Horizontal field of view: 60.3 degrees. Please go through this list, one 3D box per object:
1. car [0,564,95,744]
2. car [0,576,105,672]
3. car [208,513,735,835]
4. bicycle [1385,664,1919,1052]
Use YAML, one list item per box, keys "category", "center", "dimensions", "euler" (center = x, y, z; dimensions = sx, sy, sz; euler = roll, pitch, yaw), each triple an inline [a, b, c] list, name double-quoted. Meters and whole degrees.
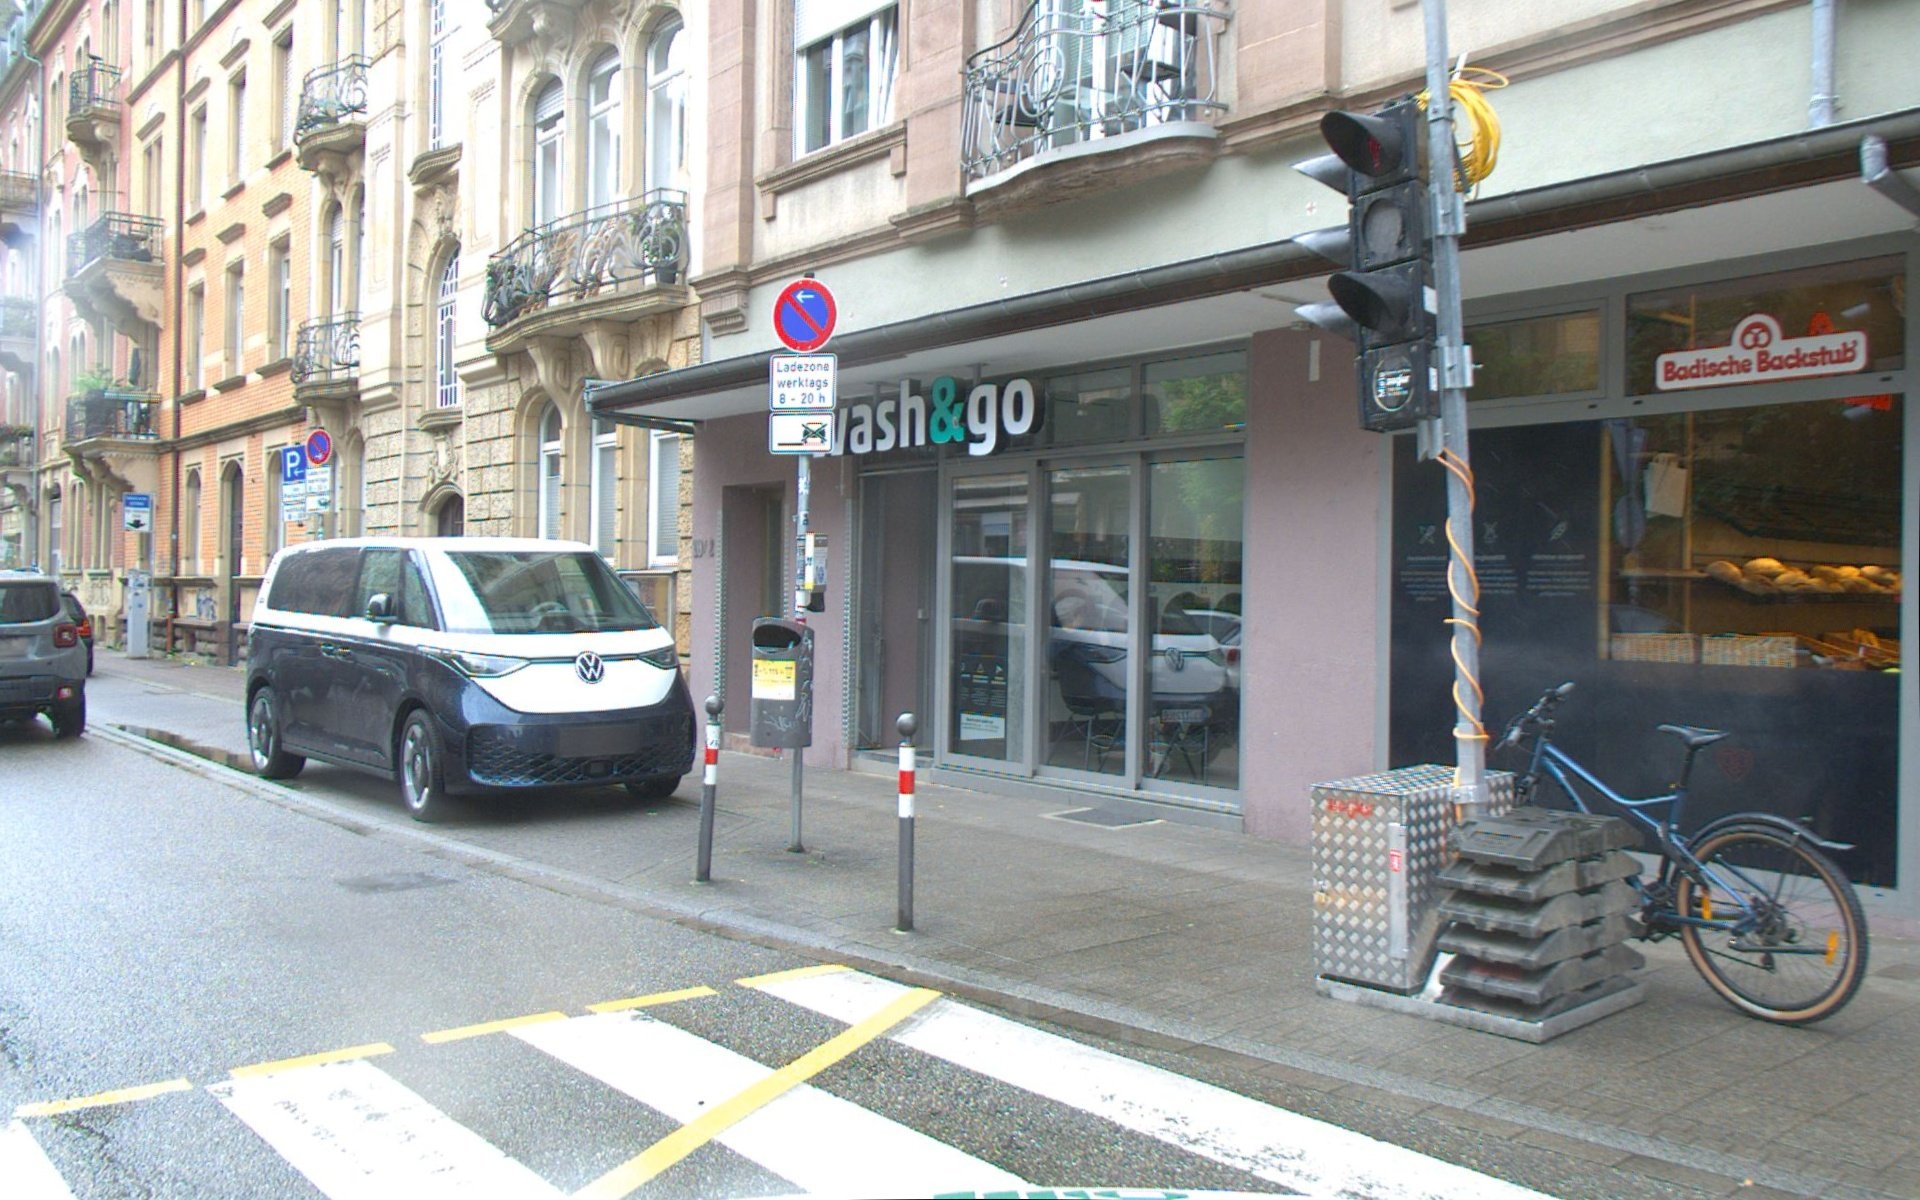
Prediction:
- category: "car"
  center: [-10.551, 0.503, 17.263]
  dimensions: [1.886, 1.700, 4.442]
  euler: [0, 1, -39]
- category: "car"
  center: [-15.842, 0.435, 27.939]
  dimensions: [1.774, 1.492, 4.423]
  euler: [0, -2, -37]
- category: "car"
  center: [-3.973, 0.427, 12.752]
  dimensions: [1.982, 1.972, 5.153]
  euler: [-1, 1, -40]
- category: "bicycle"
  center: [2.585, 0.858, 6.200]
  dimensions: [0.620, 1.147, 1.909]
  euler: [1, 0, -41]
